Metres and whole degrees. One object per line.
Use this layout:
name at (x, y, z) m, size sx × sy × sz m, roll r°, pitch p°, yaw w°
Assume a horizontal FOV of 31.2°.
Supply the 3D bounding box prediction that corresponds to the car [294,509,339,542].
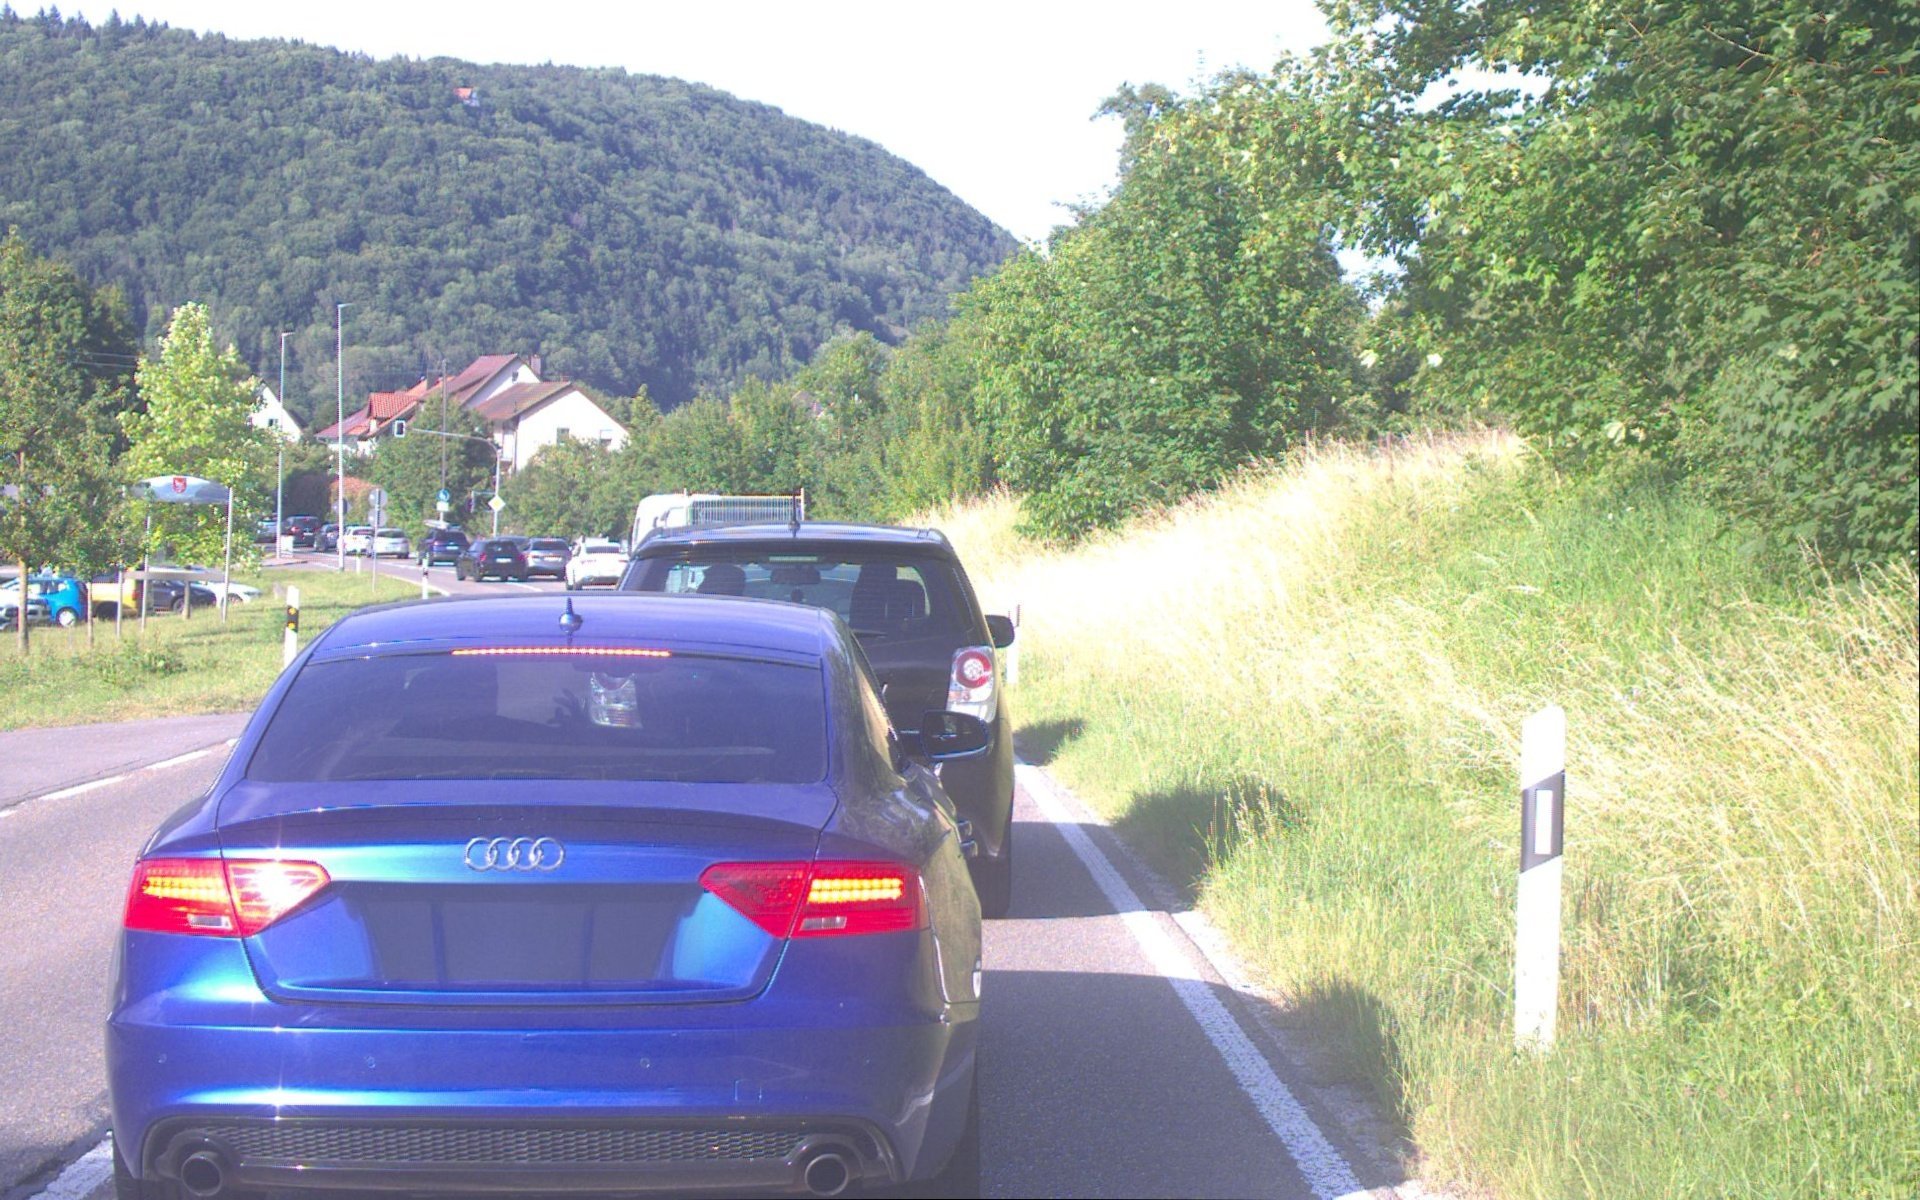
car at (-34.209, -3.933, 182.682) m, size 1.845 × 1.706 × 4.001 m, roll 1°, pitch 1°, yaw -18°

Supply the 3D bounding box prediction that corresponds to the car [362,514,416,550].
car at (-27.320, -3.238, 164.501) m, size 1.845 × 1.706 × 4.001 m, roll 1°, pitch 1°, yaw -20°

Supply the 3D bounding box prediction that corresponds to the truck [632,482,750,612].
truck at (-5.712, -1.096, 72.250) m, size 2.229 × 2.561 × 6.709 m, roll 1°, pitch 0°, yaw -6°

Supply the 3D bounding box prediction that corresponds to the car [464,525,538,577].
car at (-15.520, -1.655, 116.120) m, size 1.845 × 1.706 × 4.001 m, roll 1°, pitch 0°, yaw -16°

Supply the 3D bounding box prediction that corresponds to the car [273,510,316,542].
car at (-36.961, -4.113, 190.953) m, size 1.845 × 1.706 × 4.001 m, roll 1°, pitch 1°, yaw -18°

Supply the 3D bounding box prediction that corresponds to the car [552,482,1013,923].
car at (-0.674, 0.376, 15.168) m, size 1.754 × 1.675 × 3.846 m, roll 1°, pitch 0°, yaw 0°

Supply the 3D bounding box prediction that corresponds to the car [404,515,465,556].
car at (-22.652, -2.752, 148.099) m, size 1.845 × 1.706 × 4.001 m, roll 1°, pitch 1°, yaw -20°

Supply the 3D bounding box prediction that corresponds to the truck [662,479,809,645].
truck at (-3.779, -0.622, 56.900) m, size 2.229 × 2.561 × 6.105 m, roll 1°, pitch 0°, yaw -5°

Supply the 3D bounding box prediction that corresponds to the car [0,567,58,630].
car at (-27.311, -0.062, 95.537) m, size 3.986 × 1.705 × 2.000 m, roll 1°, pitch 0°, yaw -3°

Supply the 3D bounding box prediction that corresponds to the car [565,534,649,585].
car at (-10.488, -1.199, 102.007) m, size 1.845 × 1.477 × 4.001 m, roll 1°, pitch 1°, yaw -15°

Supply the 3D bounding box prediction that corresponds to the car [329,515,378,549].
car at (-30.621, -3.416, 173.390) m, size 1.845 × 1.706 × 4.001 m, roll 1°, pitch 1°, yaw -18°

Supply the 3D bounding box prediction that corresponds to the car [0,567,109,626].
car at (-27.321, -0.114, 101.324) m, size 3.986 × 1.705 × 2.000 m, roll 1°, pitch 0°, yaw -3°

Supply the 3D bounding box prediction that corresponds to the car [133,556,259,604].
car at (-26.322, -0.698, 118.559) m, size 3.986 × 1.573 × 1.753 m, roll 1°, pitch 0°, yaw -3°

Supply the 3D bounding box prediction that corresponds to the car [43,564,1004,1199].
car at (-0.795, 0.641, 8.244) m, size 1.754 × 1.425 × 3.846 m, roll 1°, pitch 0°, yaw 0°

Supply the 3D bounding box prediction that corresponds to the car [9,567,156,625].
car at (-26.521, -0.127, 103.999) m, size 3.986 × 1.705 × 2.000 m, roll 1°, pitch 0°, yaw -3°

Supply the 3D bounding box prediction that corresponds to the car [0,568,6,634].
car at (-26.851, 0.007, 88.596) m, size 3.986 × 1.705 × 2.000 m, roll 1°, pitch 0°, yaw -3°

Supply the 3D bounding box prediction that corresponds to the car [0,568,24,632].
car at (-27.373, -0.033, 92.252) m, size 3.986 × 1.705 × 2.000 m, roll 1°, pitch 0°, yaw -3°

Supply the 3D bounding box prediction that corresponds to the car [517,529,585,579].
car at (-14.279, -1.599, 119.992) m, size 1.845 × 1.706 × 4.001 m, roll 1°, pitch 0°, yaw -14°
